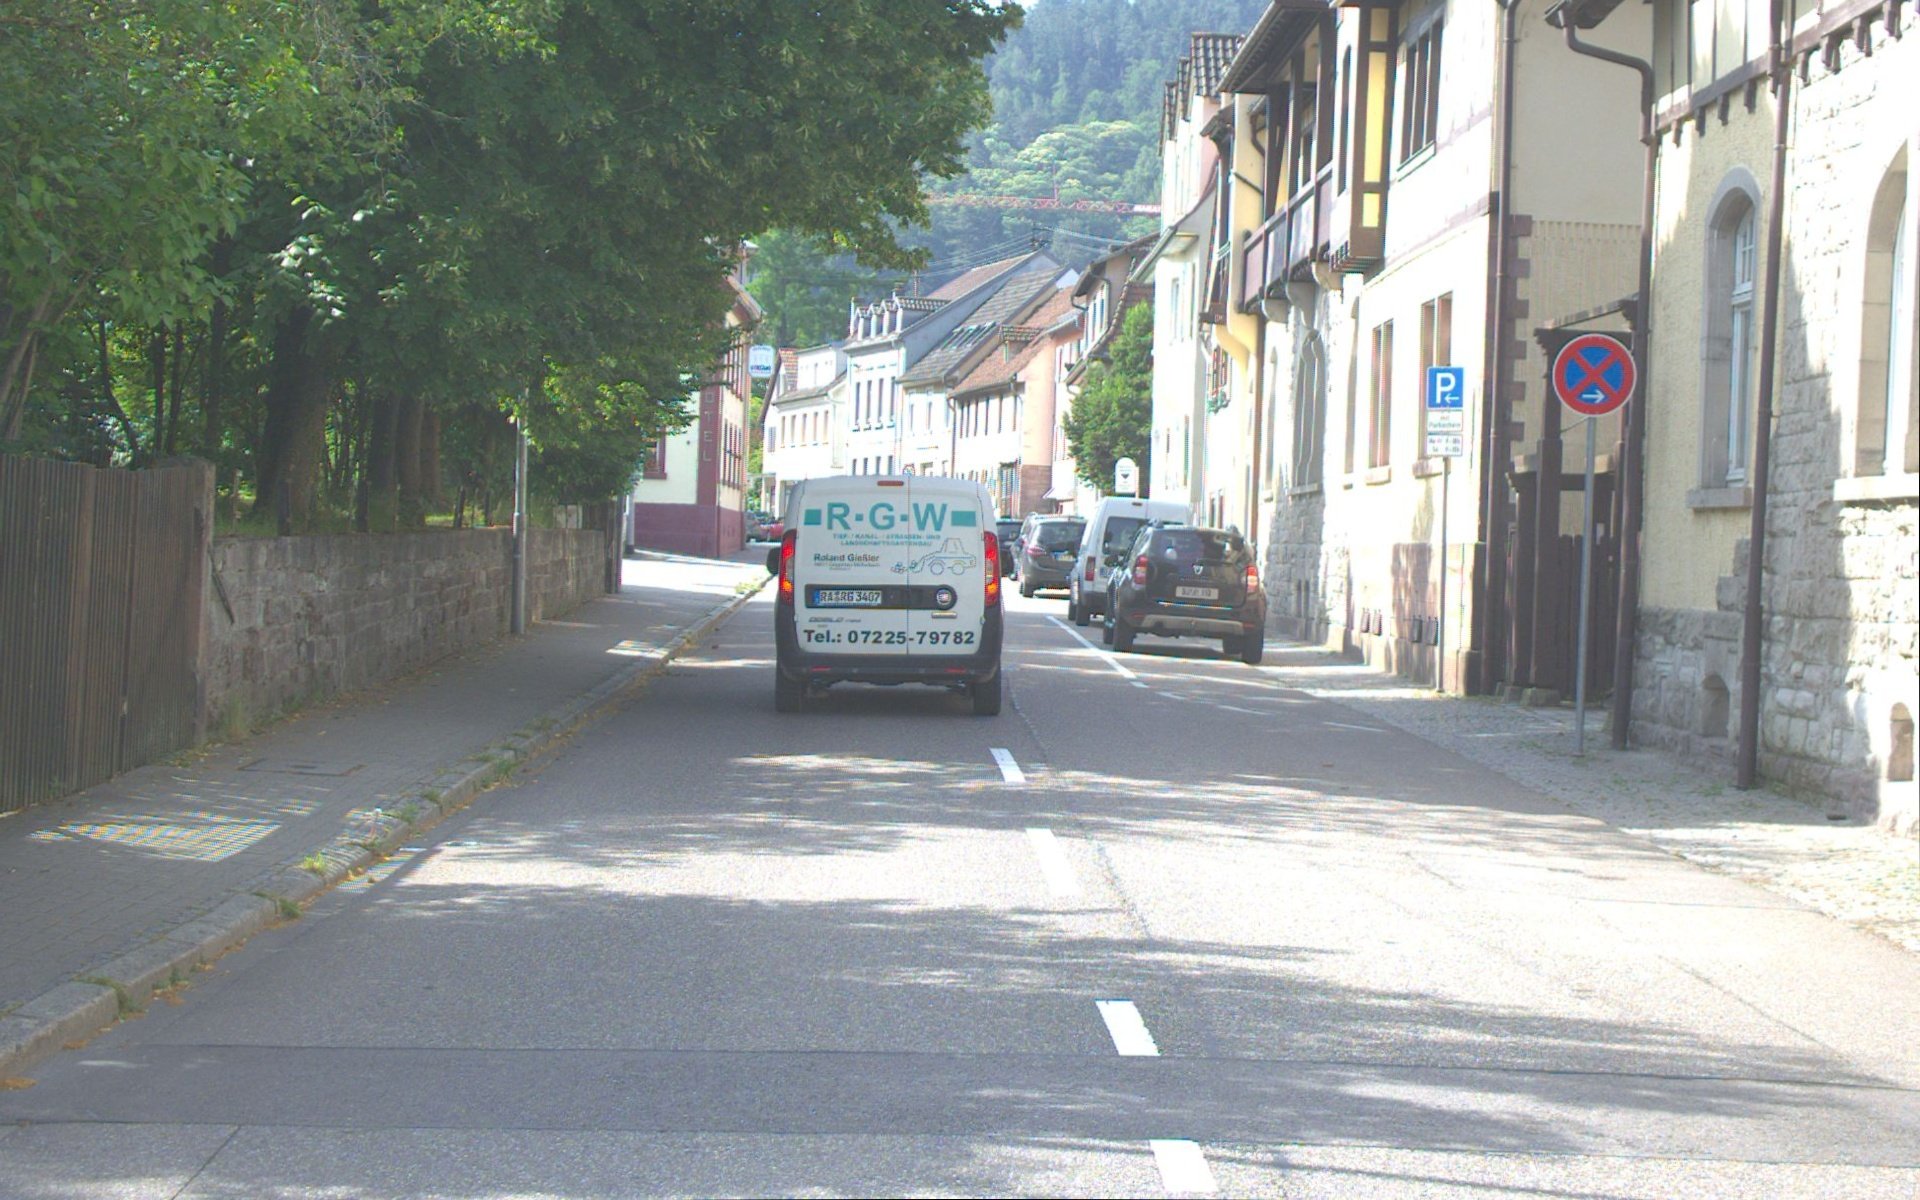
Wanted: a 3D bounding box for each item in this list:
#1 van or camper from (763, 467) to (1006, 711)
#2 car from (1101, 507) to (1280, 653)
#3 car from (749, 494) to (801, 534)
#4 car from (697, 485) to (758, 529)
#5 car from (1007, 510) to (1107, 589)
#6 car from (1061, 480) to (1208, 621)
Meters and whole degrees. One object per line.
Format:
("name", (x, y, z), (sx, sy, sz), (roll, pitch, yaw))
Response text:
("van or camper", (-0.638, -0.160, 27.987), (1.828, 1.838, 4.189), (0, 2, -2))
("car", (2.819, -0.287, 42.847), (1.810, 1.591, 3.927), (5, 2, -1))
("car", (-8.754, -4.086, 162.230), (1.771, 1.792, 4.001), (2, 1, -12))
("car", (-10.677, -4.268, 157.628), (1.993, 1.776, 4.002), (4, 2, -13))
("car", (1.932, -1.031, 69.475), (1.669, 1.503, 4.001), (2, 1, -3))
("car", (2.653, -0.781, 53.099), (1.871, 2.007, 4.000), (3, 1, -1))
